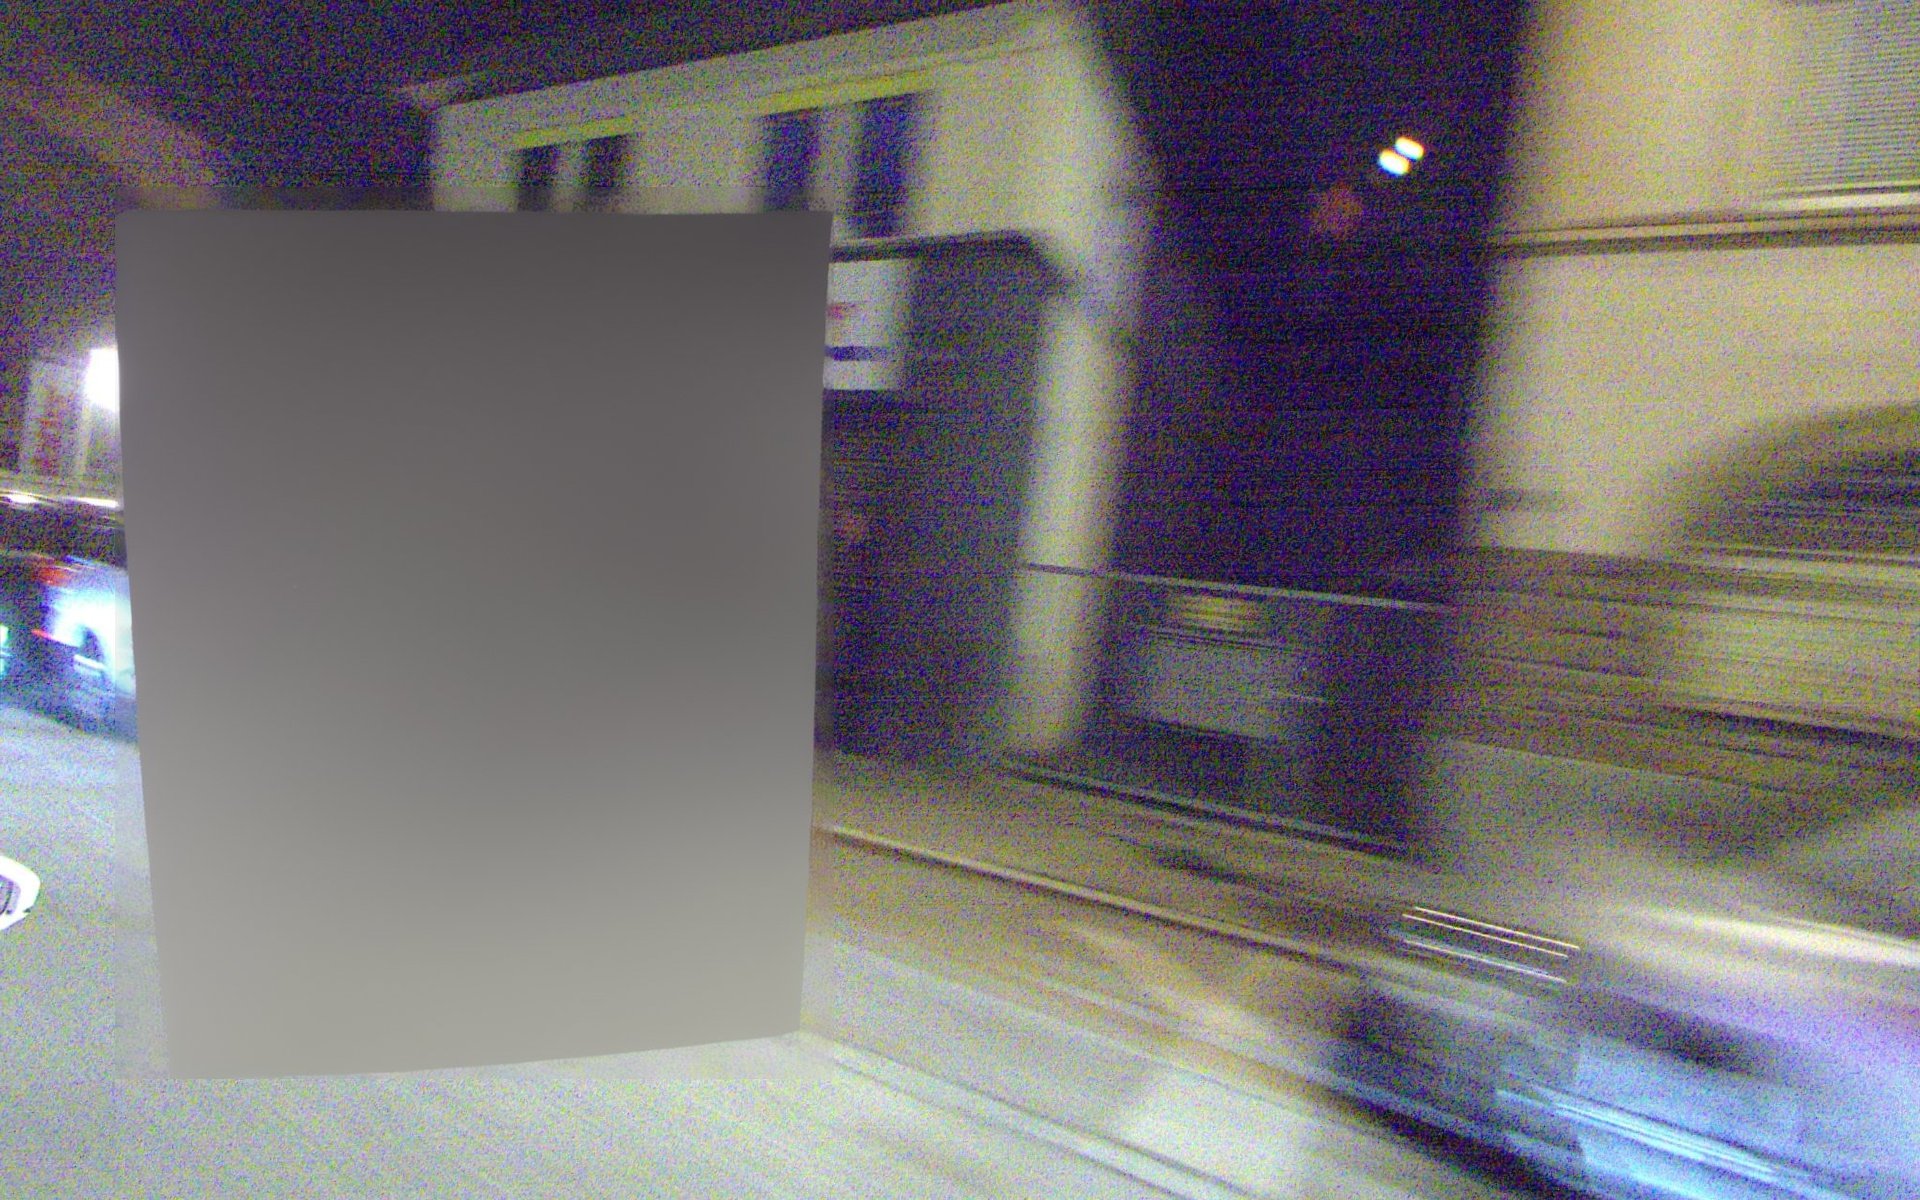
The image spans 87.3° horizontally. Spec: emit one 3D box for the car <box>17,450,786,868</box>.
[{"bbox_3d":[-4.048,0.157,7.067,5.277,1.953,2.075,6,1,28],"label":"car"}]

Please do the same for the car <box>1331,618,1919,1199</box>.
[{"bbox_3d":[3.480,1.070,3.037,4.137,1.586,1.747,6,1,27],"label":"car"}]

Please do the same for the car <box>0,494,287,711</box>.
[{"bbox_3d":[-8.517,-0.129,9.376,4.145,1.620,1.822,6,2,26],"label":"car"}]
